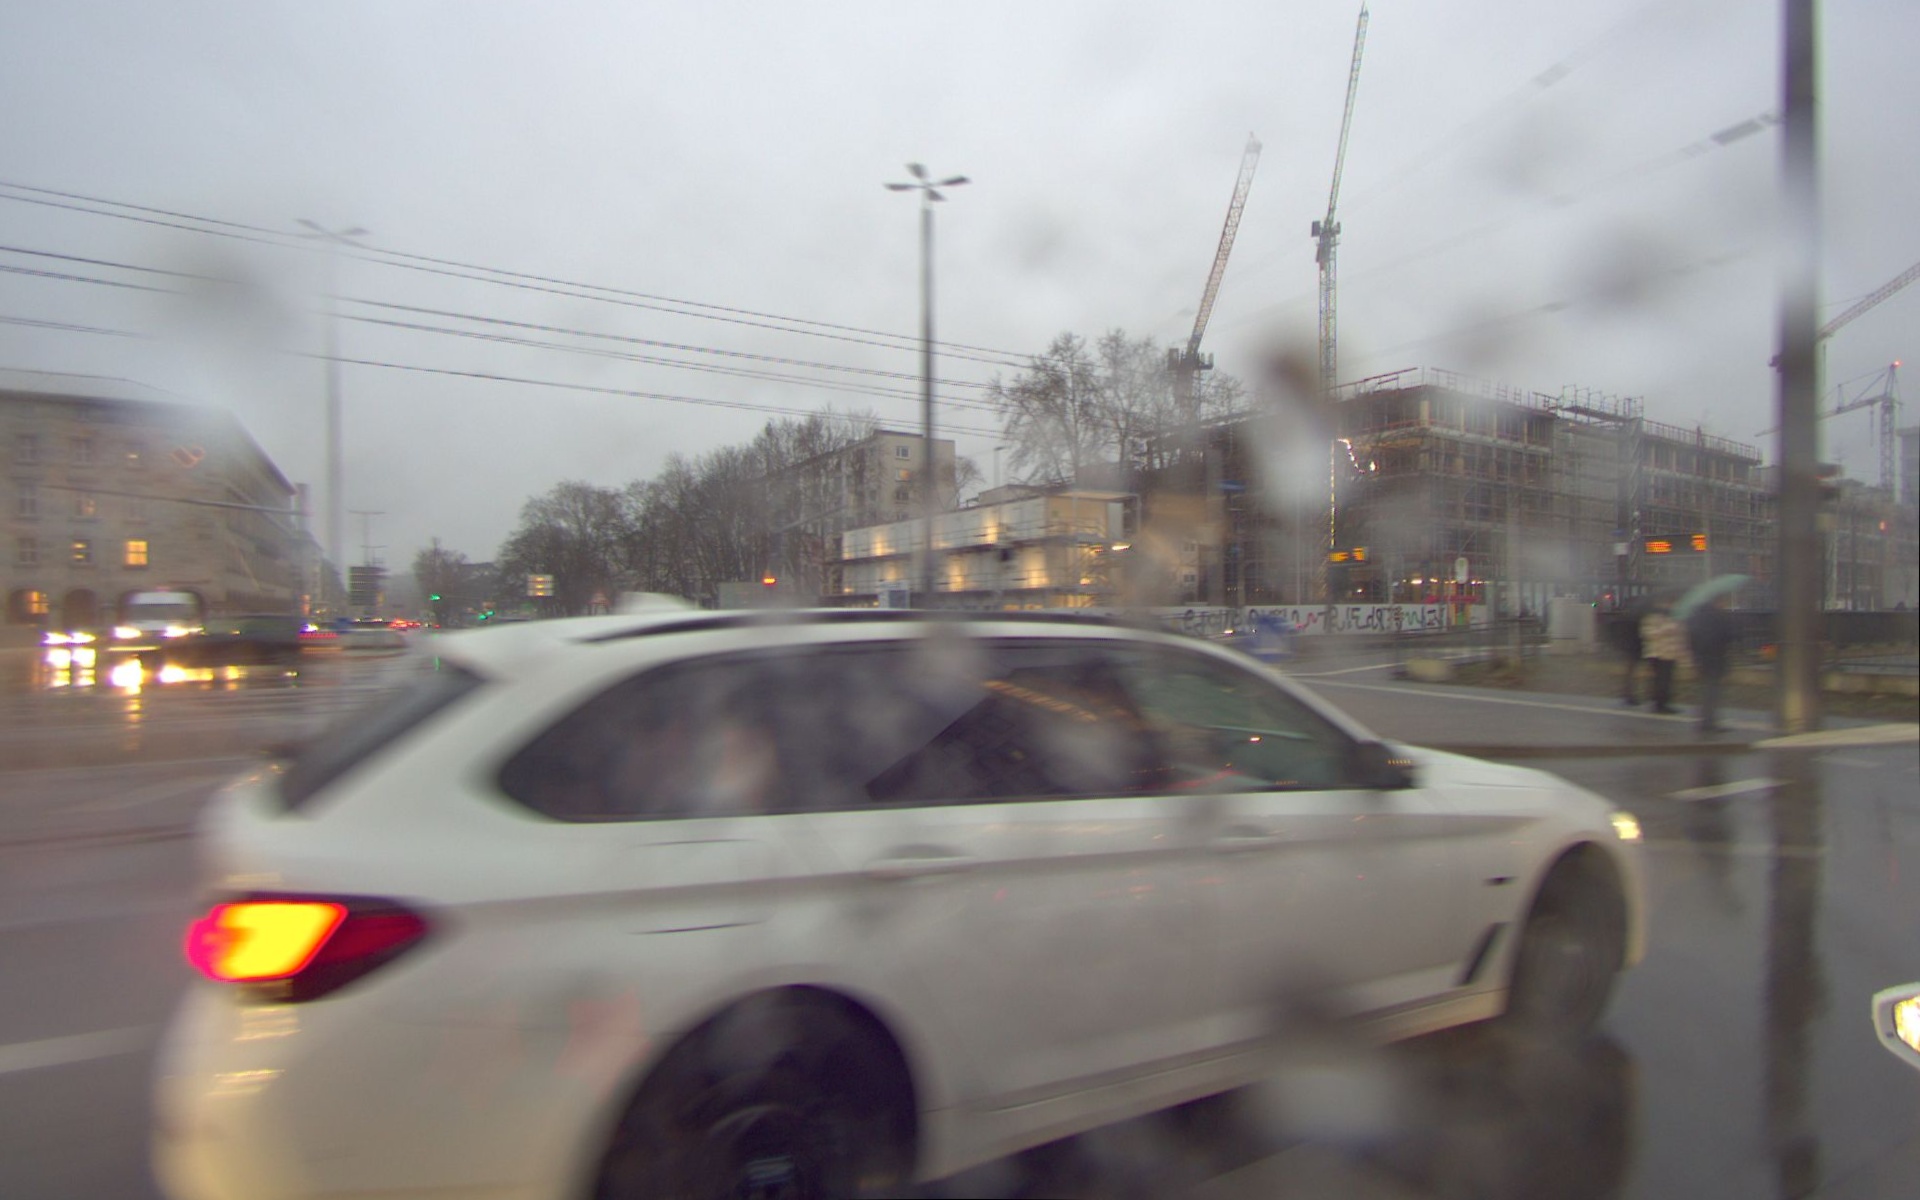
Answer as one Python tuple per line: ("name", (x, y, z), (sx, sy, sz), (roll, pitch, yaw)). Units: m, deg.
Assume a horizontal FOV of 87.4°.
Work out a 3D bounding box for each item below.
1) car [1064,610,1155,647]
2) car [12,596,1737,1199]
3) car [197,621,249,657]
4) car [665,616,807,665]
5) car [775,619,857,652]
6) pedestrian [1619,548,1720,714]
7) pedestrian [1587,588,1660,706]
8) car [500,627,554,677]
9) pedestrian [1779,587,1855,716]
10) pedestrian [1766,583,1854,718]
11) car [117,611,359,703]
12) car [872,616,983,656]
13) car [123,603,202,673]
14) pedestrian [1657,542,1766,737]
("car", (7.044, 1.297, 47.172), (4.195, 1.638, 1.859), (0, 0, -38))
("car", (0.354, 0.749, 3.435), (4.885, 1.485, 1.844), (0, 0, -29))
("car", (-43.458, 2.242, 59.299), (1.976, 1.904, 4.405), (0, 0, -30))
("car", (-7.651, 1.330, 34.558), (4.408, 1.500, 1.975), (0, 0, -43))
("car", (-6.028, 1.453, 42.103), (3.132, 1.292, 1.434), (0, 0, -39))
("pedestrian", (10.025, 0.419, 14.239), (1.034, 2.237, 0.956), (1, 1, 29))
("pedestrian", (10.093, 0.688, 15.308), (0.845, 1.737, 0.763), (1, 1, 29))
("car", (-18.931, 2.206, 43.795), (1.736, 1.904, 4.164), (0, 0, -30))
("pedestrian", (11.918, 0.690, 13.995), (0.642, 1.741, 0.749), (1, 1, 29))
("pedestrian", (11.439, 0.663, 13.533), (0.593, 1.758, 0.667), (1, 0, 2))
("car", (-18.025, 1.334, 25.227), (4.757, 2.040, 1.975), (0, 0, -43))
("car", (-1.295, 1.440, 41.120), (4.230, 1.479, 1.978), (0, 0, -38))
("car", (-33.818, 1.545, 42.699), (1.976, 2.748, 4.405), (0, 0, -30))
("pedestrian", (8.914, 0.441, 11.907), (0.894, 2.174, 1.012), (1, 1, 44))
